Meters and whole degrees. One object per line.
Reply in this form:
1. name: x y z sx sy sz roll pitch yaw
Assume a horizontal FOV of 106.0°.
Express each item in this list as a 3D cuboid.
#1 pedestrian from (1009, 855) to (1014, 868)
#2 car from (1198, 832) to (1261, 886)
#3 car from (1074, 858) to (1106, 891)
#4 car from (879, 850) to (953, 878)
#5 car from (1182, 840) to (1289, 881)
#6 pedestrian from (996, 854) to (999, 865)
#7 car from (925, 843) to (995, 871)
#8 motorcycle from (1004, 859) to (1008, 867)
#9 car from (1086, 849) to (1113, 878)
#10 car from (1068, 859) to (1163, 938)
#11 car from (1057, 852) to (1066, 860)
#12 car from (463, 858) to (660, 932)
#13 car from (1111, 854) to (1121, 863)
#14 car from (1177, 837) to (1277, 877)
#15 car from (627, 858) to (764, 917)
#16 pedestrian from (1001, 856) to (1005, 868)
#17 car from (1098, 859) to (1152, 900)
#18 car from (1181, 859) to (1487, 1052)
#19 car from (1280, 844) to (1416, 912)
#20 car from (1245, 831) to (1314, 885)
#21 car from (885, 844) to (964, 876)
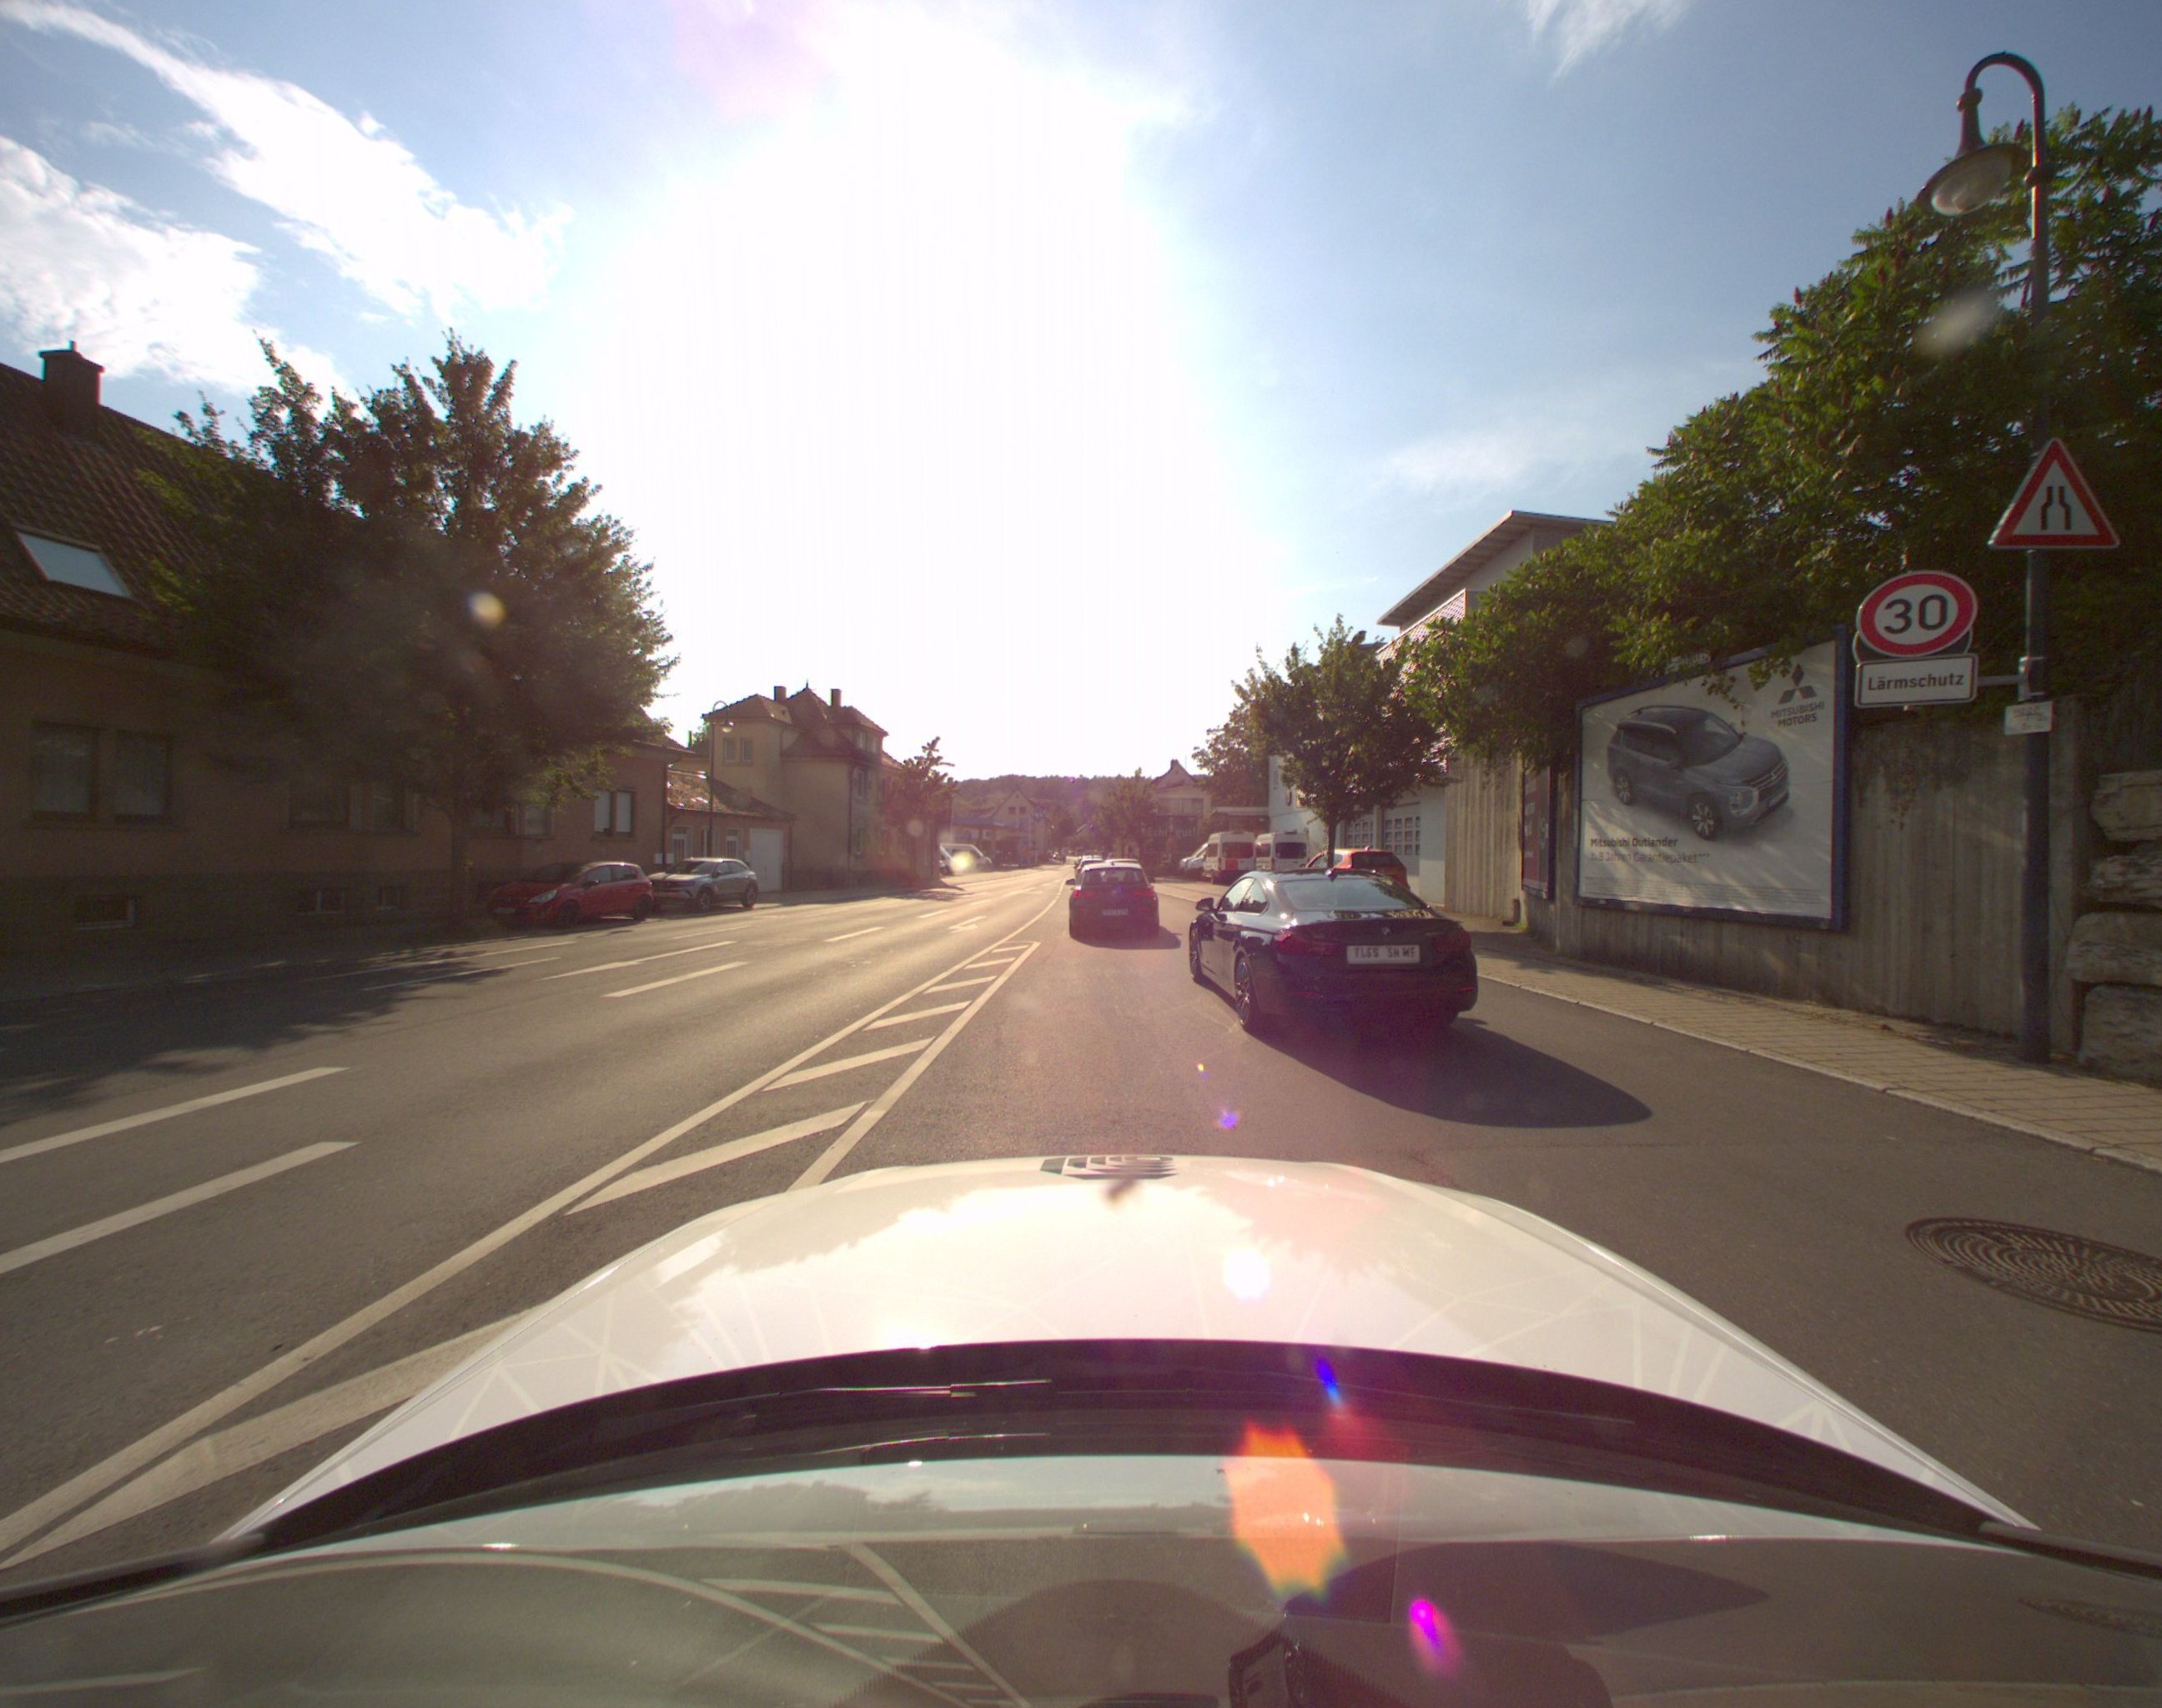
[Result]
1. pedestrian: -9.121 0.953 106.545 0.609 1.670 0.442 0 0 -2
2. car: 7.913 0.223 44.043 2.143 2.680 6.602 0 0 0
3. car: 0.477 1.039 42.361 1.586 1.600 3.893 0 0 0
4. car: -12.161 0.740 60.237 4.954 1.999 1.937 1 0 3
5. car: 9.243 0.388 49.044 6.027 2.363 2.043 0 0 -2
6. pedestrian: -10.766 0.720 104.988 0.286 1.366 0.262 0 0 -3
7. car: -11.178 0.282 75.548 6.136 2.444 2.250 1 0 1
8. motorcycle: -9.769 1.158 106.207 0.362 0.943 1.695 0 0 0
9. car: 1.208 0.594 52.202 1.596 1.767 3.414 0 0 3
10. car: 0.720 0.849 17.079 1.765 1.456 3.517 -1 0 2
11. car: -3.629 0.444 153.821 1.592 1.485 3.474 1 0 0
12. car: -12.093 0.877 19.318 1.656 1.487 4.009 3 0 8
13. car: 6.008 0.720 140.821 1.592 1.485 3.474 1 0 0
14. car: 9.262 0.191 51.945 6.027 2.516 2.043 0 0 -2
15. car: -11.383 0.931 24.381 1.746 1.479 4.008 3 1 7
16. pedestrian: -10.202 0.994 106.658 0.406 1.547 0.432 0 0 -2
17. car: 1.601 0.903 30.521 1.749 1.414 3.419 0 0 -2
18. car: 2.165 0.770 8.244 1.695 1.369 4.260 -1 0 -1
19. car: 7.117 0.594 22.244 1.832 1.649 4.528 0 0 -6
20. car: 10.653 0.197 44.277 2.105 2.722 6.441 0 0 0
21. car: -12.617 0.432 65.916 5.891 2.480 2.197 1 0 5
